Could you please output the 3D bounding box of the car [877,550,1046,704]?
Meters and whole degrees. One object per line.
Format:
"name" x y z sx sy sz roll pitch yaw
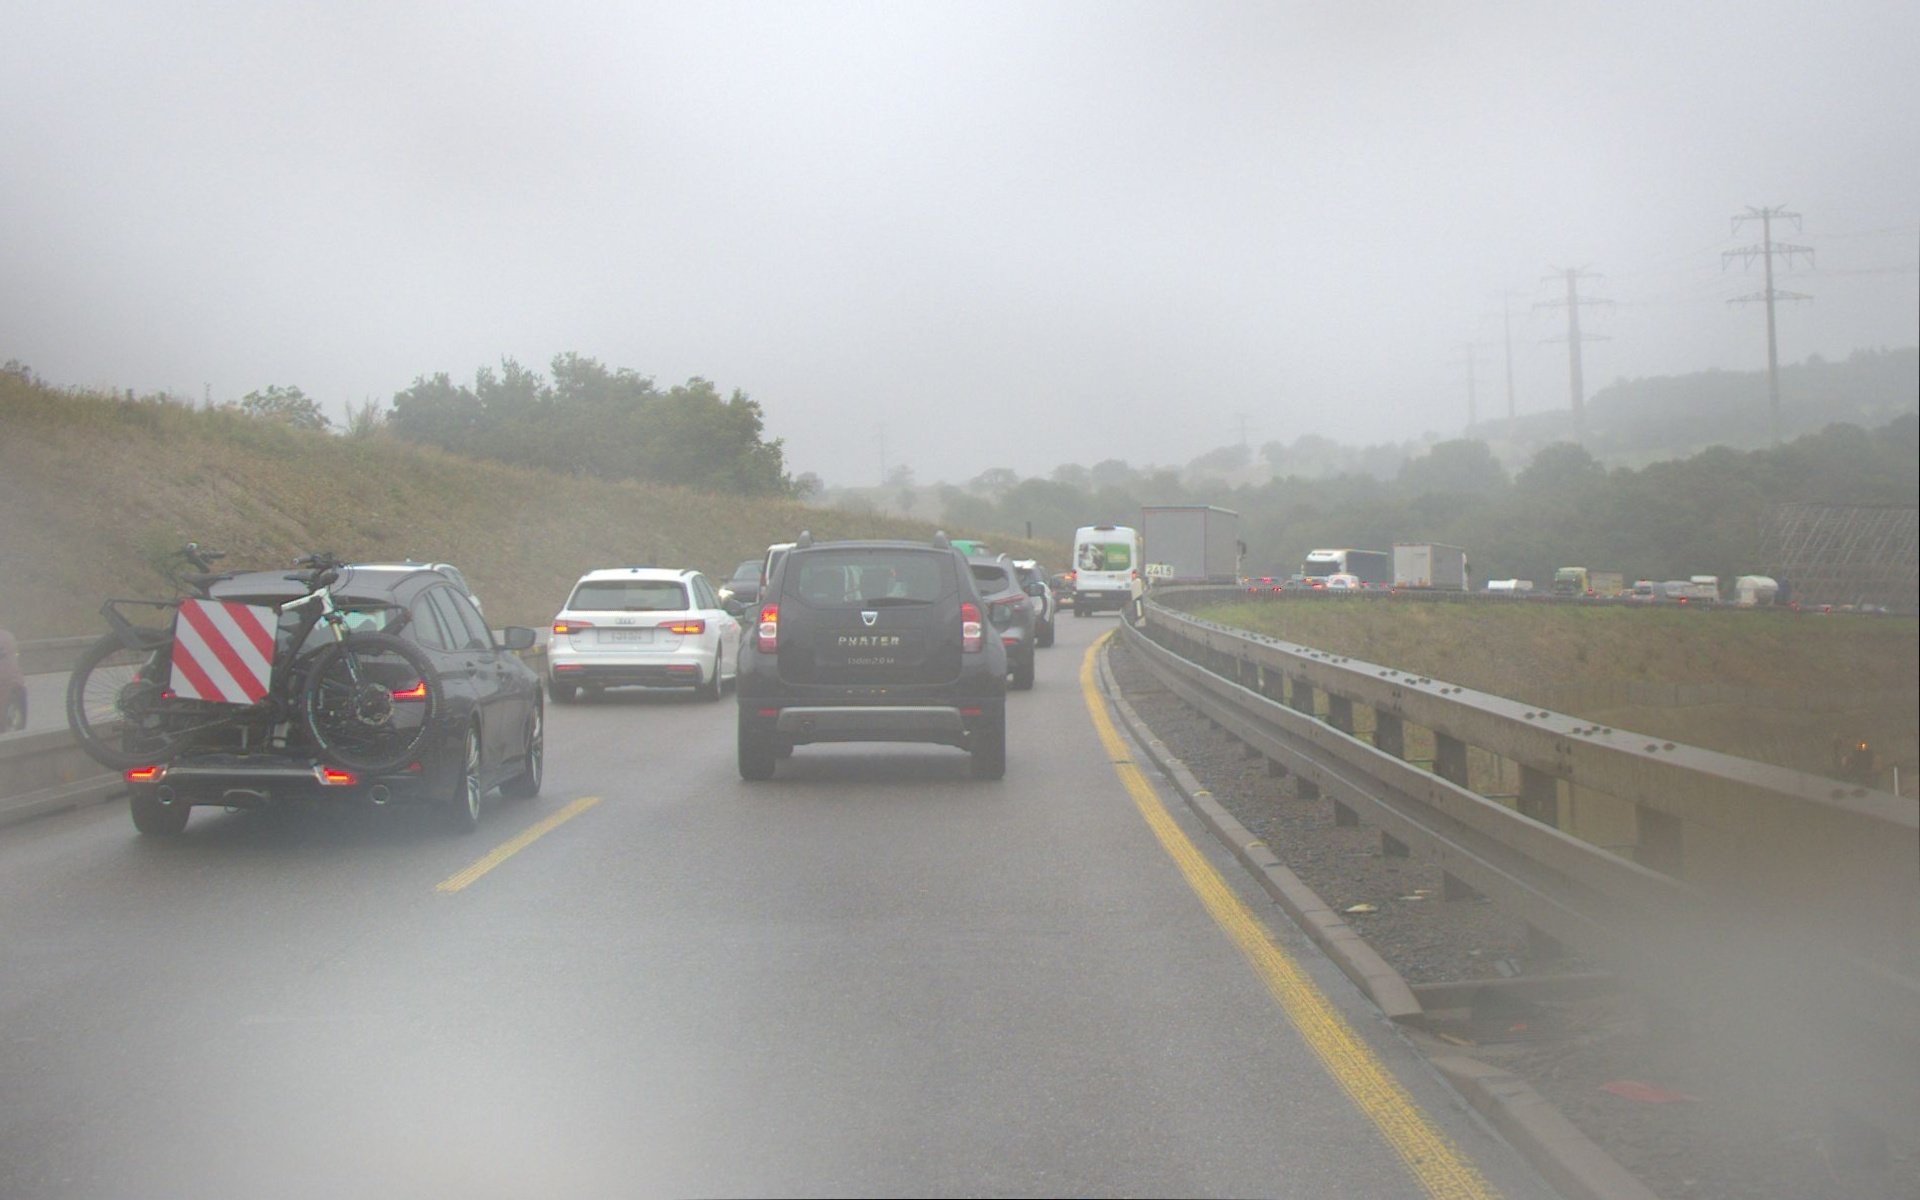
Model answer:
"car" 0.055 0.285 40.677 1.867 1.703 4.000 1 1 1

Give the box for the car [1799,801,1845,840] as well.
"car" 47.713 12.197 190.362 1.994 1.809 3.999 1 0 7

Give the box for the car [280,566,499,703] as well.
"car" -7.089 0.395 43.203 2.045 1.627 4.990 0 0 -2

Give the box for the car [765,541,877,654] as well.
"car" -2.384 -0.061 59.759 1.660 1.873 4.020 1 1 1

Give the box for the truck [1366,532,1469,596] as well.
"truck" 31.187 -2.395 233.463 4.721 4.135 15.671 1 1 15

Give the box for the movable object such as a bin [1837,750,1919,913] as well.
"movable object such as a bin" 25.263 6.101 90.618 3.214 3.854 4.122 2 1 3

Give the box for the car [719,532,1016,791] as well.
"car" -0.562 0.382 23.806 1.804 1.640 3.776 0 0 2

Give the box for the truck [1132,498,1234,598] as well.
"truck" 8.834 -2.024 135.169 3.201 3.748 8.506 1 1 9

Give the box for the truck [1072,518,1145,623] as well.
"truck" 4.627 -0.930 107.680 2.149 3.155 6.459 1 1 2

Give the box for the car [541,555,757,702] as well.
"car" -3.305 0.263 37.283 1.867 1.455 4.548 1 1 0

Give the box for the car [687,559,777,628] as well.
"car" -5.498 -0.183 83.426 1.811 1.587 4.902 -1 1 0

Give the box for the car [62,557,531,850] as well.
"car" -3.588 0.511 19.254 1.829 1.471 3.776 0 0 1

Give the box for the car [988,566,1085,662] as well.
"car" 1.349 0.229 61.839 1.530 1.635 4.013 1 1 -1

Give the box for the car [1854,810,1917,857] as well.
"car" 46.481 11.714 172.729 2.365 2.007 3.999 1 1 5

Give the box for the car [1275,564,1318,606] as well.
"car" 15.855 -0.734 161.780 1.775 1.909 3.999 1 1 9

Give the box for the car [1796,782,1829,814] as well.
"car" 60.953 14.127 245.795 1.995 2.007 3.996 1 1 18
